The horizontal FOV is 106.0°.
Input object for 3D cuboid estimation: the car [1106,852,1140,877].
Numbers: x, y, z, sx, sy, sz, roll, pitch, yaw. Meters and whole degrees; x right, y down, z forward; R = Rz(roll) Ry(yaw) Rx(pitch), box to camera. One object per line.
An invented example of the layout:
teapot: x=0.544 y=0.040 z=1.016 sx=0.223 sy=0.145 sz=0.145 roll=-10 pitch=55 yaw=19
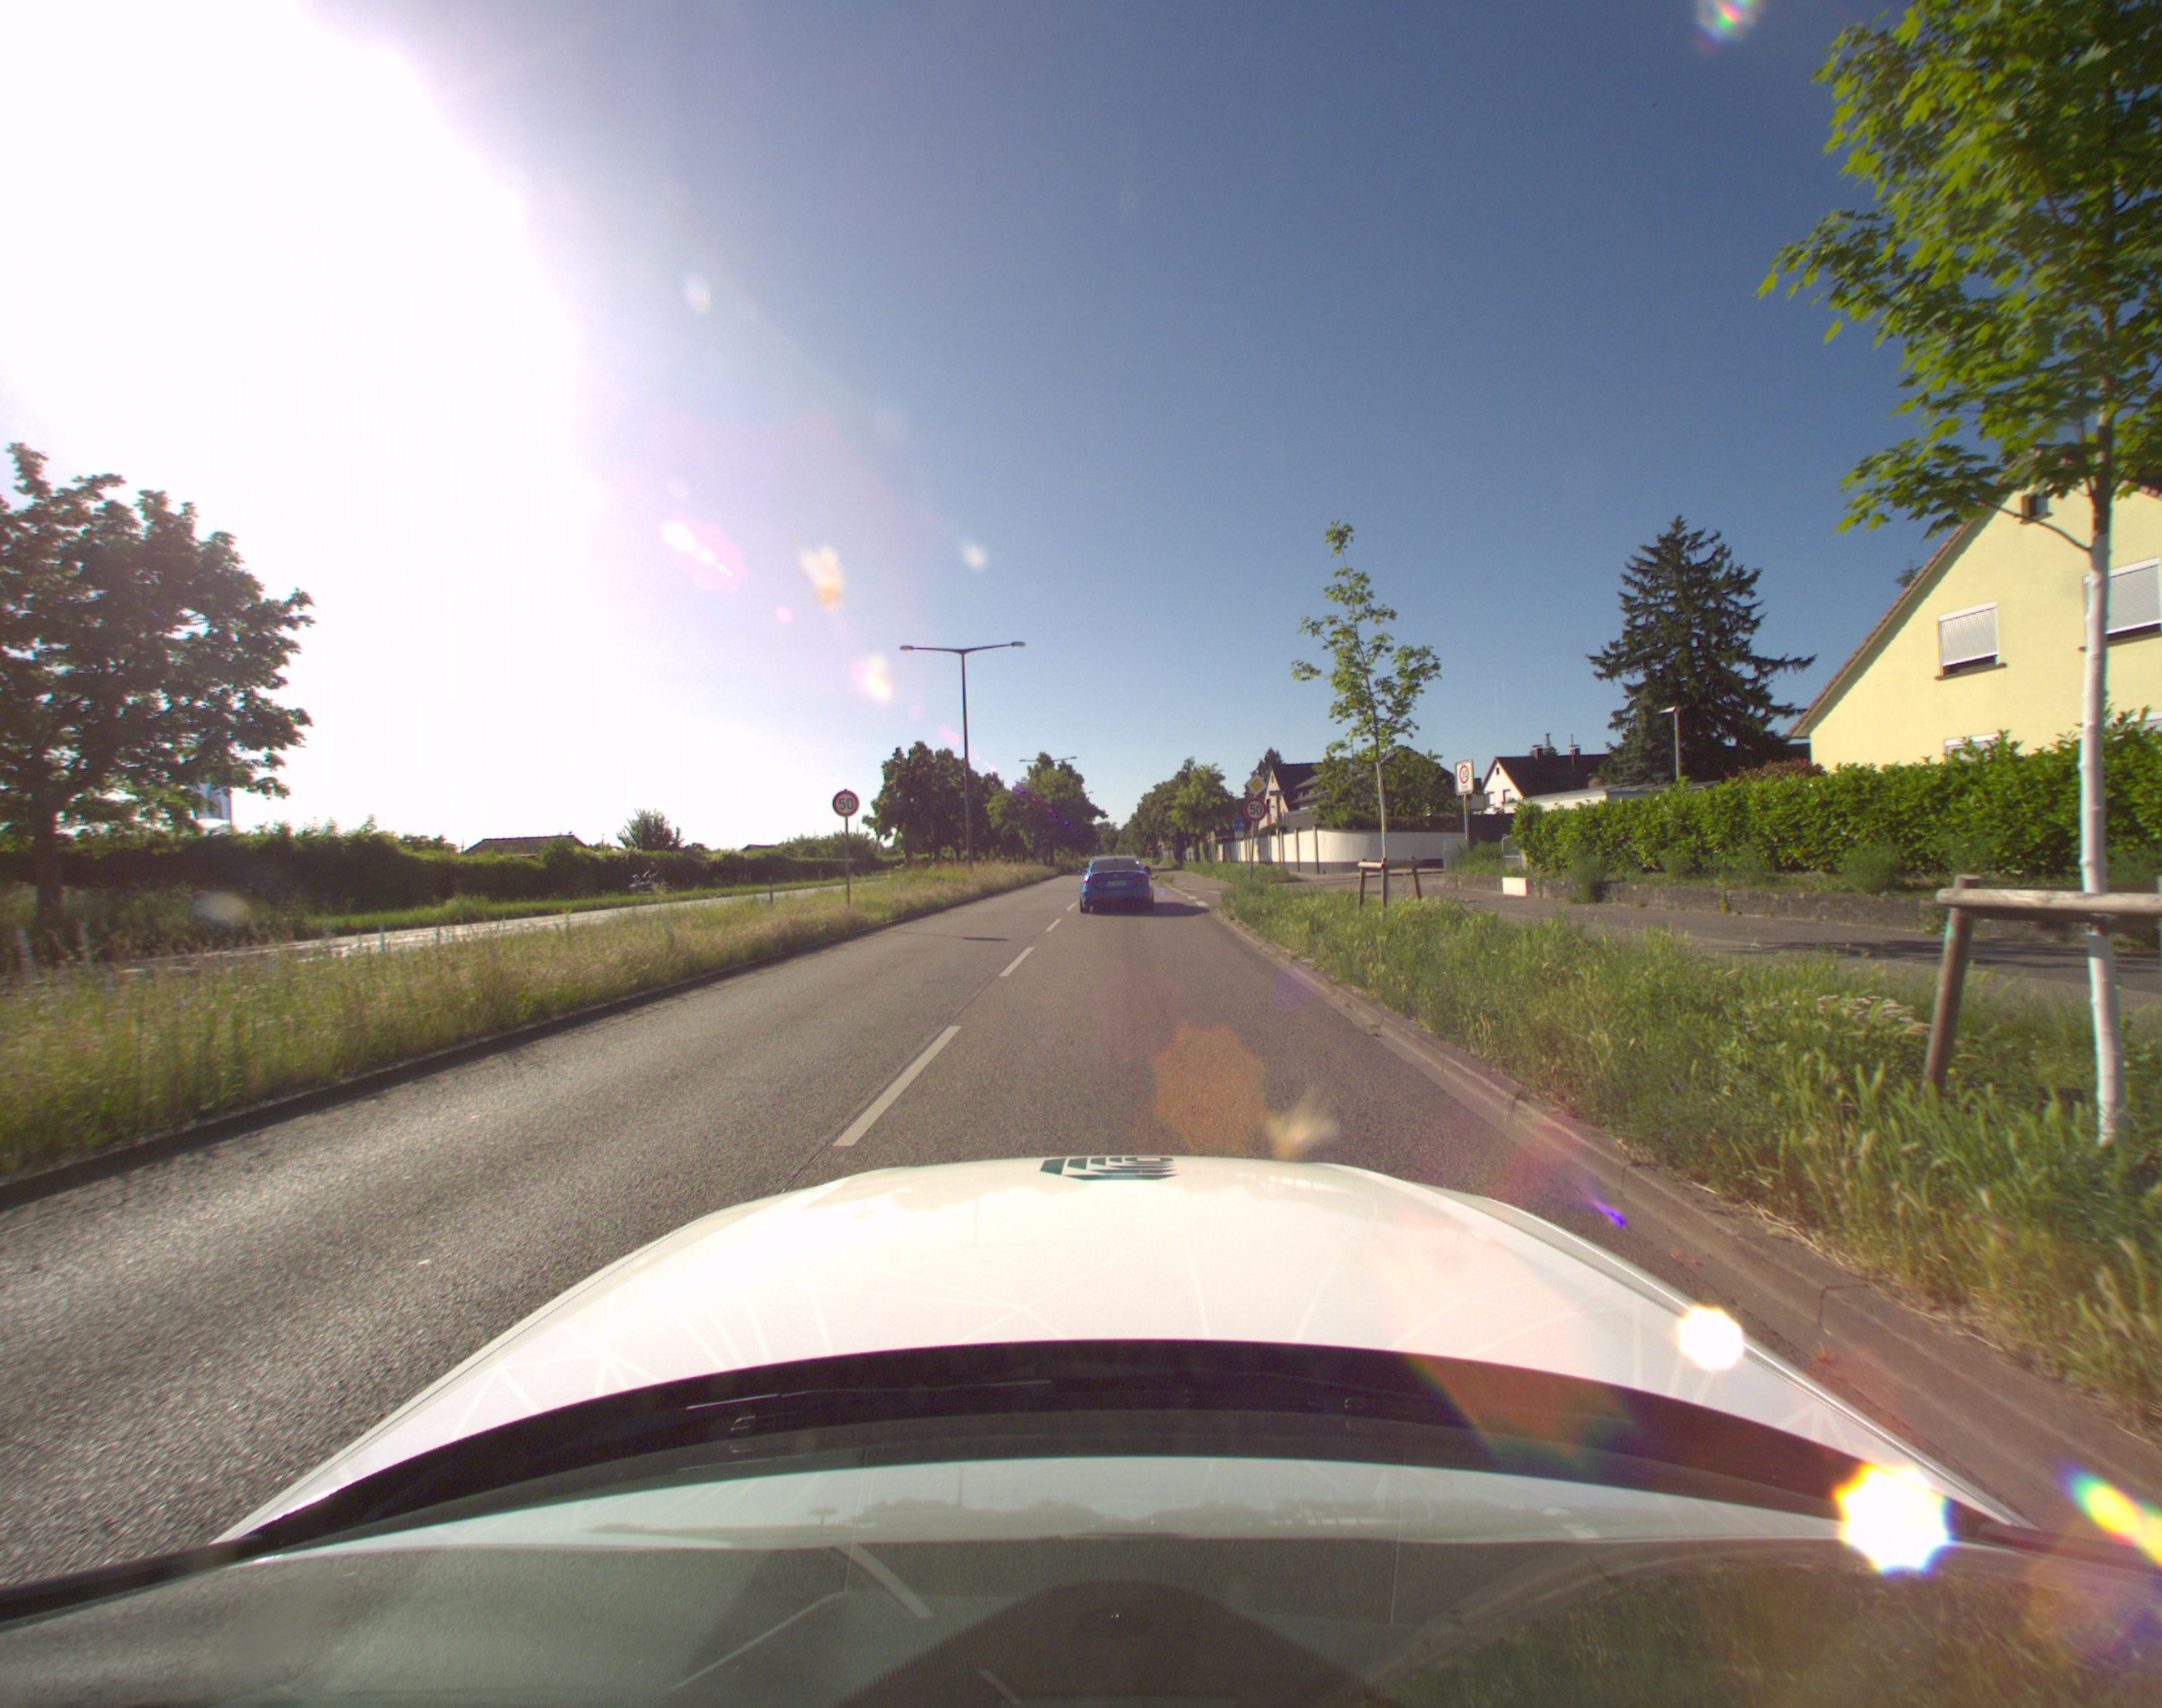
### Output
car: x=2.784 y=0.668 z=54.827 sx=1.910 sy=1.579 sz=4.180 roll=-1 pitch=0 yaw=-1

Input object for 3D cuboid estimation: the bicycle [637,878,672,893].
bicycle: x=-21.977 y=1.630 z=41.962 sx=0.561 sy=0.695 sz=1.880 roll=-1 pitch=0 yaw=10

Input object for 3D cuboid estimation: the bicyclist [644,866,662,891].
bicyclist: x=-22.000 y=1.278 z=41.850 sx=0.579 sy=1.257 sz=0.577 roll=-1 pitch=-1 yaw=9

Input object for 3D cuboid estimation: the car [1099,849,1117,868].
car: x=2.911 y=0.499 z=86.778 sx=1.786 sy=2.014 sz=4.002 roll=-1 pitch=-1 yaw=2

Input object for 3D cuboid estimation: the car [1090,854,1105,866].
car: x=2.096 y=0.773 z=103.100 sx=1.909 sy=1.512 sz=4.068 roll=-1 pitch=0 yaw=1

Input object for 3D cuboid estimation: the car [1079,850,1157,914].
car: x=0.965 y=0.679 z=22.000 sx=1.832 sy=1.474 sz=4.186 roll=-3 pitch=0 yaw=1
